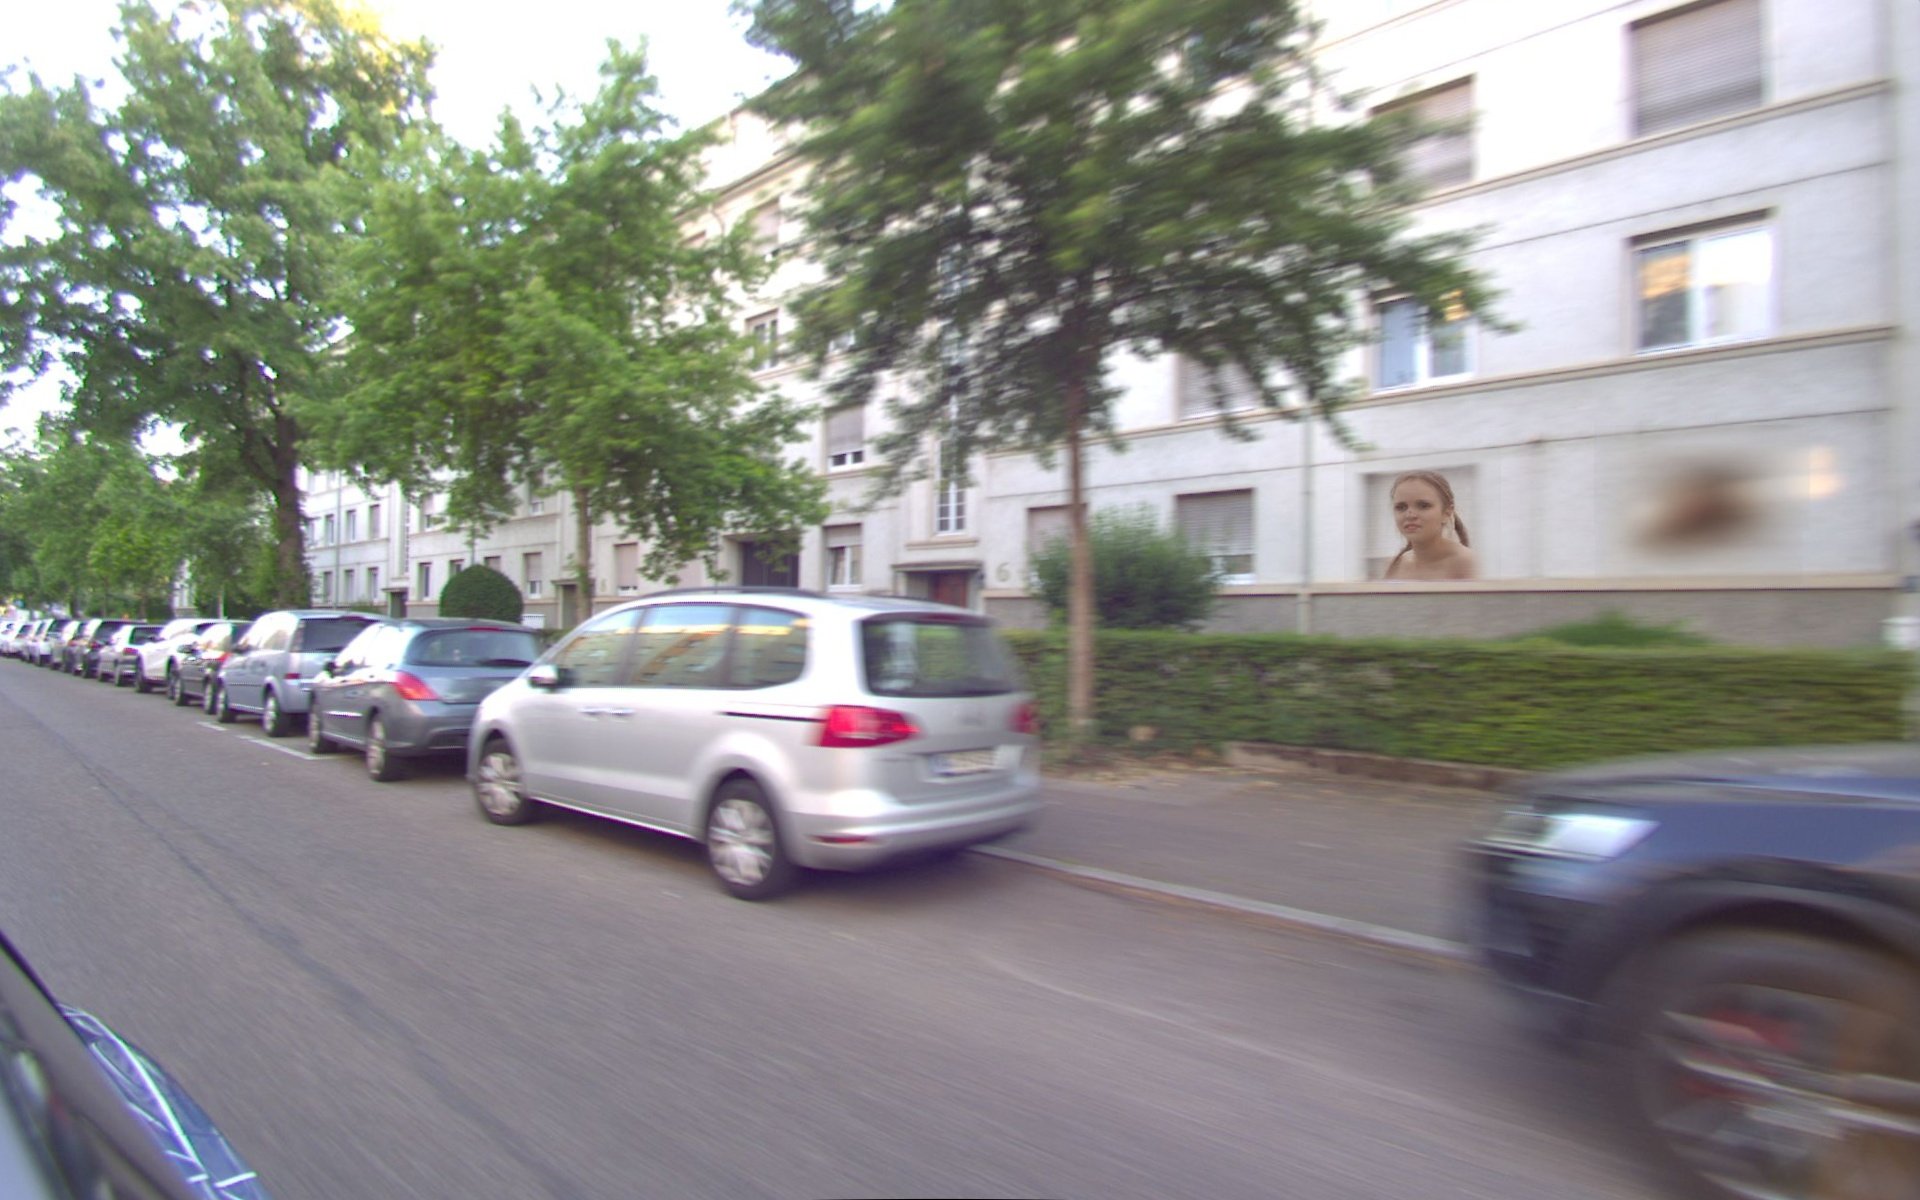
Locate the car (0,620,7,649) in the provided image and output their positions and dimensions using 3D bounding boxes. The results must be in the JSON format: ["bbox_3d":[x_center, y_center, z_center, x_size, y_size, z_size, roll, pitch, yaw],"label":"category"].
[{"bbox_3d":[-58.298,1.994,60.303,4.106,1.644,1.734,-1,-5,42],"label":"car"}]

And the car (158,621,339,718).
[{"bbox_3d":[-12.217,1.146,17.293,3.843,1.463,1.688,-1,-6,43],"label":"car"}]

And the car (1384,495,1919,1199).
[{"bbox_3d":[3.657,0.677,2.097,4.770,1.732,1.932,-1,-4,42],"label":"car"}]

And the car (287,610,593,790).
[{"bbox_3d":[-5.626,0.934,10.672,1.712,1.508,4.274,5,-4,-43],"label":"car"}]

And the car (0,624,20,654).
[{"bbox_3d":[-51.134,2.002,53.385,4.676,1.491,1.734,-1,-5,41],"label":"car"}]

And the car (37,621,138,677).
[{"bbox_3d":[-25.612,1.409,29.669,4.100,1.477,1.573,-1,-5,41],"label":"car"}]

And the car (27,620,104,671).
[{"bbox_3d":[-29.143,1.471,32.950,2.923,1.541,1.572,-1,-6,45],"label":"car"}]

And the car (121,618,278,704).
[{"bbox_3d":[-15.425,1.197,20.457,4.204,1.550,1.574,-1,-5,41],"label":"car"}]

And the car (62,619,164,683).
[{"bbox_3d":[-22.513,1.334,26.865,3.163,1.541,1.507,-1,-5,41],"label":"car"}]

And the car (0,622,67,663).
[{"bbox_3d":[-36.751,1.647,39.959,4.483,1.471,1.674,-1,-5,43],"label":"car"}]

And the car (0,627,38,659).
[{"bbox_3d":[-43.997,1.950,46.665,4.579,1.342,1.656,-1,-5,42],"label":"car"}]

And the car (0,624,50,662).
[{"bbox_3d":[-40.350,1.804,43.190,4.143,1.471,1.674,-1,-5,41],"label":"car"}]

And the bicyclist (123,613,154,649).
[{"bbox_3d":[-32.802,1.232,40.389,0.973,1.415,0.799,-1,-2,42],"label":"bicyclist"}]

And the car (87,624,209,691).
[{"bbox_3d":[-19.343,1.331,24.040,4.181,1.414,1.573,-1,-5,43],"label":"car"}]

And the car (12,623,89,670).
[{"bbox_3d":[-32.140,1.631,35.733,3.799,1.516,1.573,-1,-5,43],"label":"car"}]

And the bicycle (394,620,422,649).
[{"bbox_3d":[-24.226,1.507,44.400,0.549,1.240,1.818,2,-2,-44],"label":"bicycle"}]

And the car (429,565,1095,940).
[{"bbox_3d":[-1.637,0.774,6.923,4.856,1.704,1.827,-1,-4,41],"label":"car"}]

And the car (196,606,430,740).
[{"bbox_3d":[-9.177,0.970,14.226,4.116,1.613,1.688,-1,-5,43],"label":"car"}]

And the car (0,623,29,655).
[{"bbox_3d":[-47.388,1.868,49.904,3.703,1.471,1.657,-1,-5,41],"label":"car"}]

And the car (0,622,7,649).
[{"bbox_3d":[-55.078,1.942,57.048,3.945,1.491,1.732,-1,-6,44],"label":"car"}]
